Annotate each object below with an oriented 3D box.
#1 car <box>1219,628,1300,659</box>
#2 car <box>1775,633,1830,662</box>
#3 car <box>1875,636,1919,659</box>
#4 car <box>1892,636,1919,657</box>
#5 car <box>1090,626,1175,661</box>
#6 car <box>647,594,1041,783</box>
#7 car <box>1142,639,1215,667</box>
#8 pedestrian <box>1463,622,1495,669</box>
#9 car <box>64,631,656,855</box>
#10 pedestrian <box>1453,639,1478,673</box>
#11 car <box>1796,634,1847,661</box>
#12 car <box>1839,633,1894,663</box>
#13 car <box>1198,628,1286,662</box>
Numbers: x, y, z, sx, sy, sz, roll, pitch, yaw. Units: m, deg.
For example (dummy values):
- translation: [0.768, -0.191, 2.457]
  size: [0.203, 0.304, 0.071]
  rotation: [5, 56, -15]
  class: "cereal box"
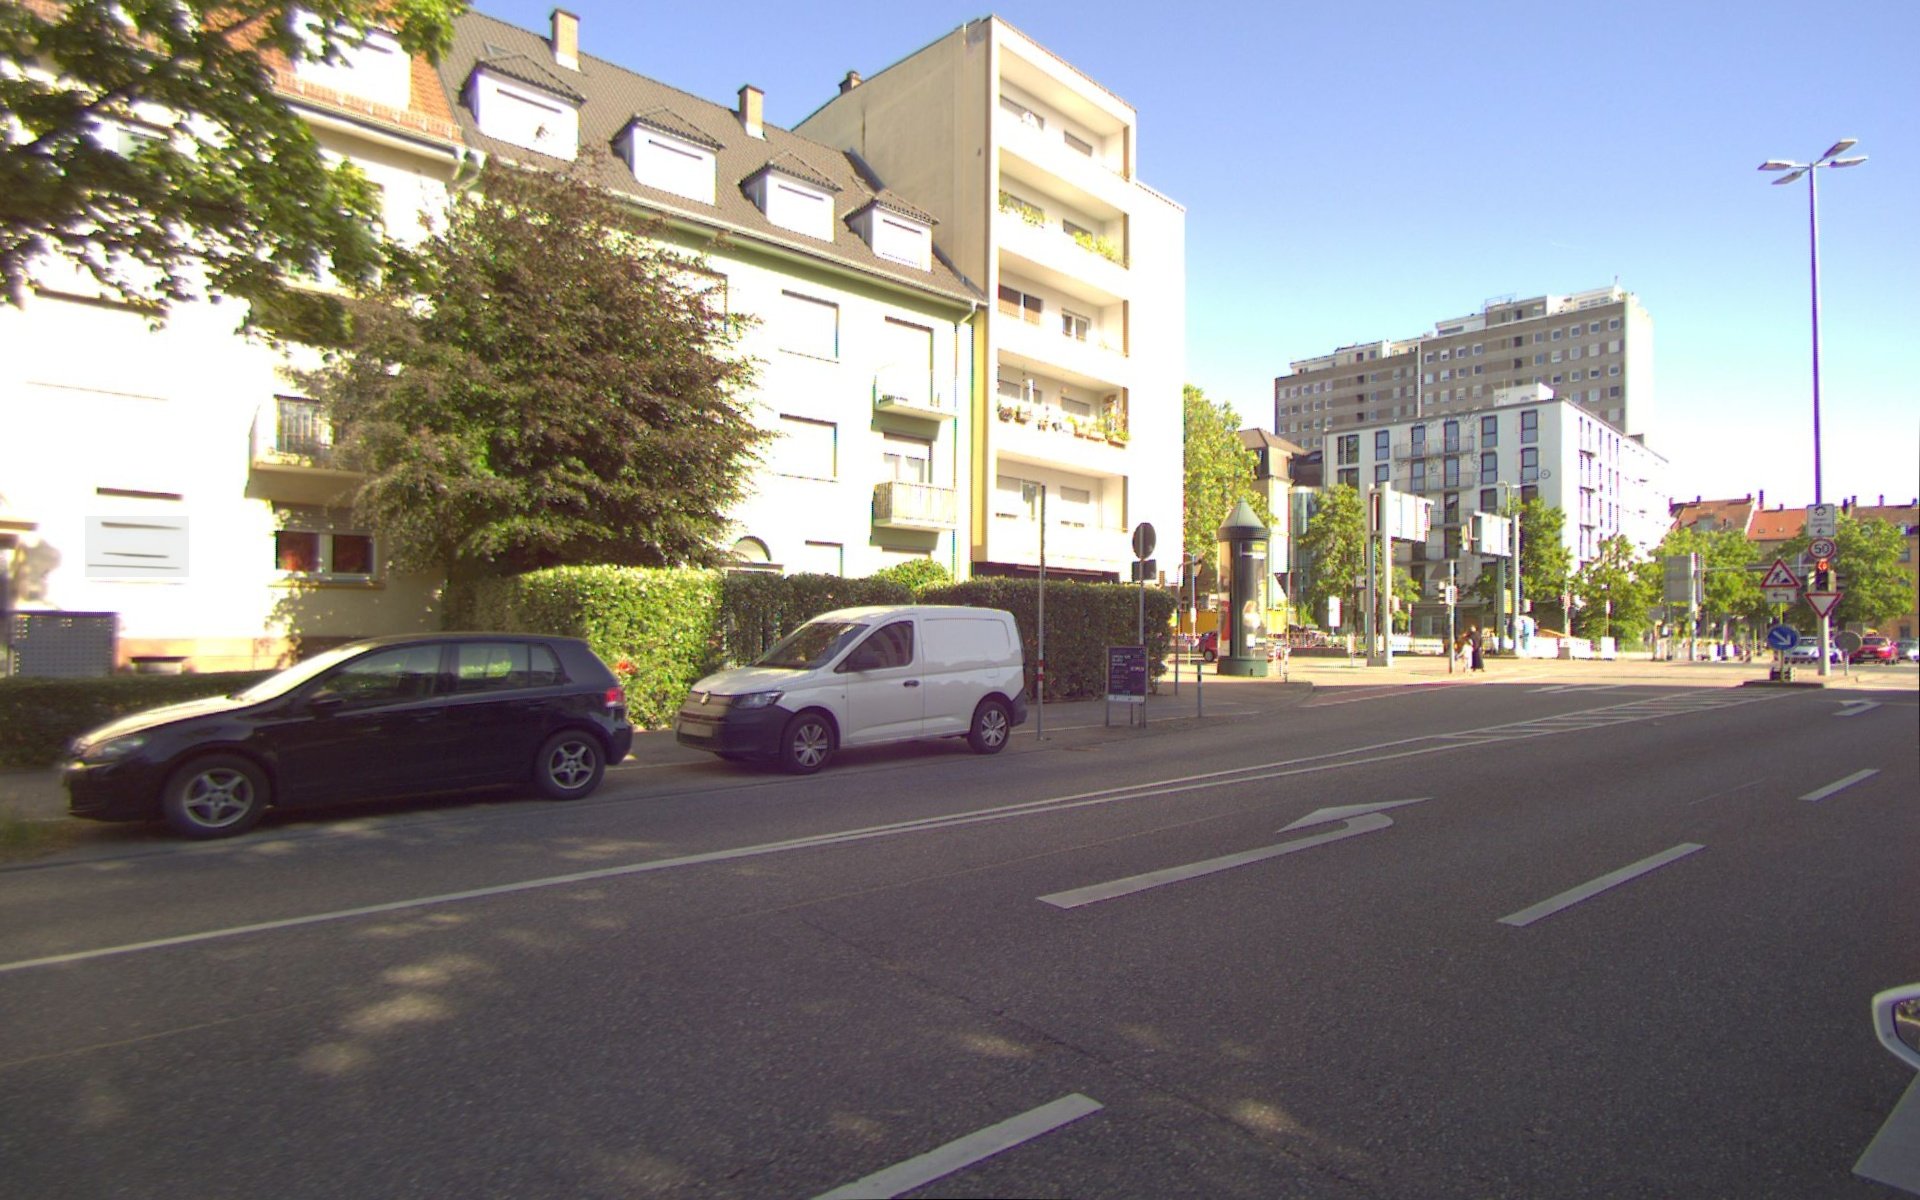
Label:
- translation: [15.504, 2.255, 52.105]
  size: [1.833, 1.535, 3.605]
  rotation: [2, -3, -43]
  class: "car"
- translation: [50.288, 2.796, 59.936]
  size: [3.968, 1.638, 1.859]
  rotation: [1, -2, -40]
  class: "car"
- translation: [62.863, 3.181, 67.296]
  size: [3.968, 1.467, 1.859]
  rotation: [2, -2, -40]
  class: "car"
- translation: [69.322, 3.339, 73.022]
  size: [3.968, 1.467, 1.859]
  rotation: [2, -2, -40]
  class: "car"
- translation: [7.844, 1.990, 45.775]
  size: [1.602, 1.535, 3.606]
  rotation: [2, -3, -42]
  class: "car"
- translation: [-1.223, 0.932, 12.081]
  size: [4.529, 1.858, 1.802]
  rotation: [2, -2, -42]
  class: "car"
- translation: [12.142, 2.946, 56.038]
  size: [1.833, 1.474, 3.605]
  rotation: [2, -3, -43]
  class: "car"
- translation: [18.607, 1.639, 36.029]
  size: [0.815, 1.671, 0.677]
  rotation: [0, -1, 7]
  class: "pedestrian"
- translation: [-4.903, 1.012, 8.641]
  size: [4.077, 1.476, 1.657]
  rotation: [2, -2, -40]
  class: "car"
- translation: [17.749, 1.963, 35.287]
  size: [0.650, 1.181, 0.677]
  rotation: [0, -1, 17]
  class: "pedestrian"
- translation: [55.140, 3.023, 64.278]
  size: [3.968, 1.638, 1.859]
  rotation: [1, -2, -40]
  class: "car"
- translation: [50.920, 2.672, 56.404]
  size: [3.967, 1.638, 1.776]
  rotation: [1, -2, -40]
  class: "car"
- translation: [13.256, 2.106, 47.341]
  size: [1.833, 1.535, 3.605]
  rotation: [2, -3, -43]
  class: "car"
